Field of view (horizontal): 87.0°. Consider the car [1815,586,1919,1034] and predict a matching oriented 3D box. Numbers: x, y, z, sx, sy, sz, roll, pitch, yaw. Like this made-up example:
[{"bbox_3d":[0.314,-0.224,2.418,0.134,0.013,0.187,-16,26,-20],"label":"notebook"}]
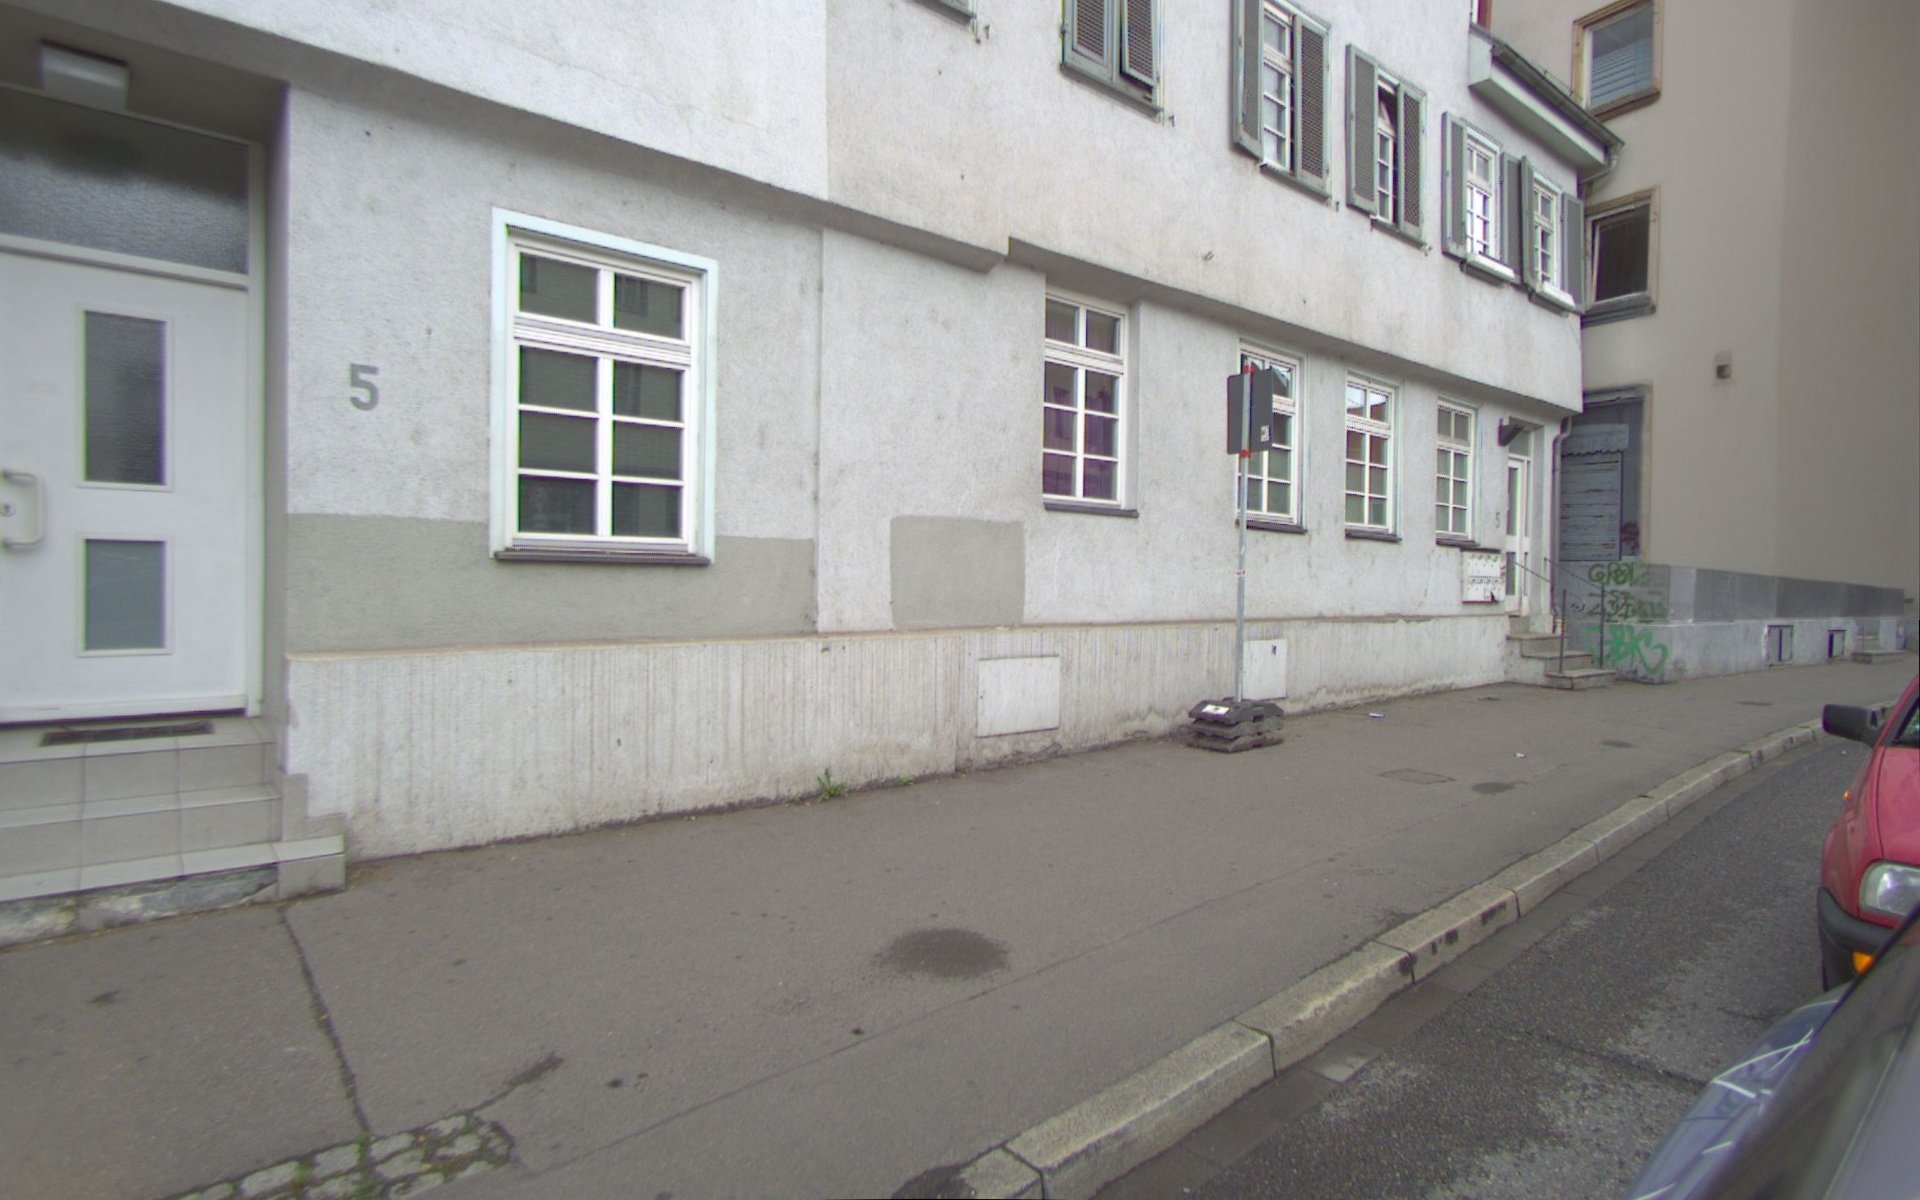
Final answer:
[{"bbox_3d":[5.089,0.690,4.148,3.930,1.485,1.802,0,-2,-41],"label":"car"}]
